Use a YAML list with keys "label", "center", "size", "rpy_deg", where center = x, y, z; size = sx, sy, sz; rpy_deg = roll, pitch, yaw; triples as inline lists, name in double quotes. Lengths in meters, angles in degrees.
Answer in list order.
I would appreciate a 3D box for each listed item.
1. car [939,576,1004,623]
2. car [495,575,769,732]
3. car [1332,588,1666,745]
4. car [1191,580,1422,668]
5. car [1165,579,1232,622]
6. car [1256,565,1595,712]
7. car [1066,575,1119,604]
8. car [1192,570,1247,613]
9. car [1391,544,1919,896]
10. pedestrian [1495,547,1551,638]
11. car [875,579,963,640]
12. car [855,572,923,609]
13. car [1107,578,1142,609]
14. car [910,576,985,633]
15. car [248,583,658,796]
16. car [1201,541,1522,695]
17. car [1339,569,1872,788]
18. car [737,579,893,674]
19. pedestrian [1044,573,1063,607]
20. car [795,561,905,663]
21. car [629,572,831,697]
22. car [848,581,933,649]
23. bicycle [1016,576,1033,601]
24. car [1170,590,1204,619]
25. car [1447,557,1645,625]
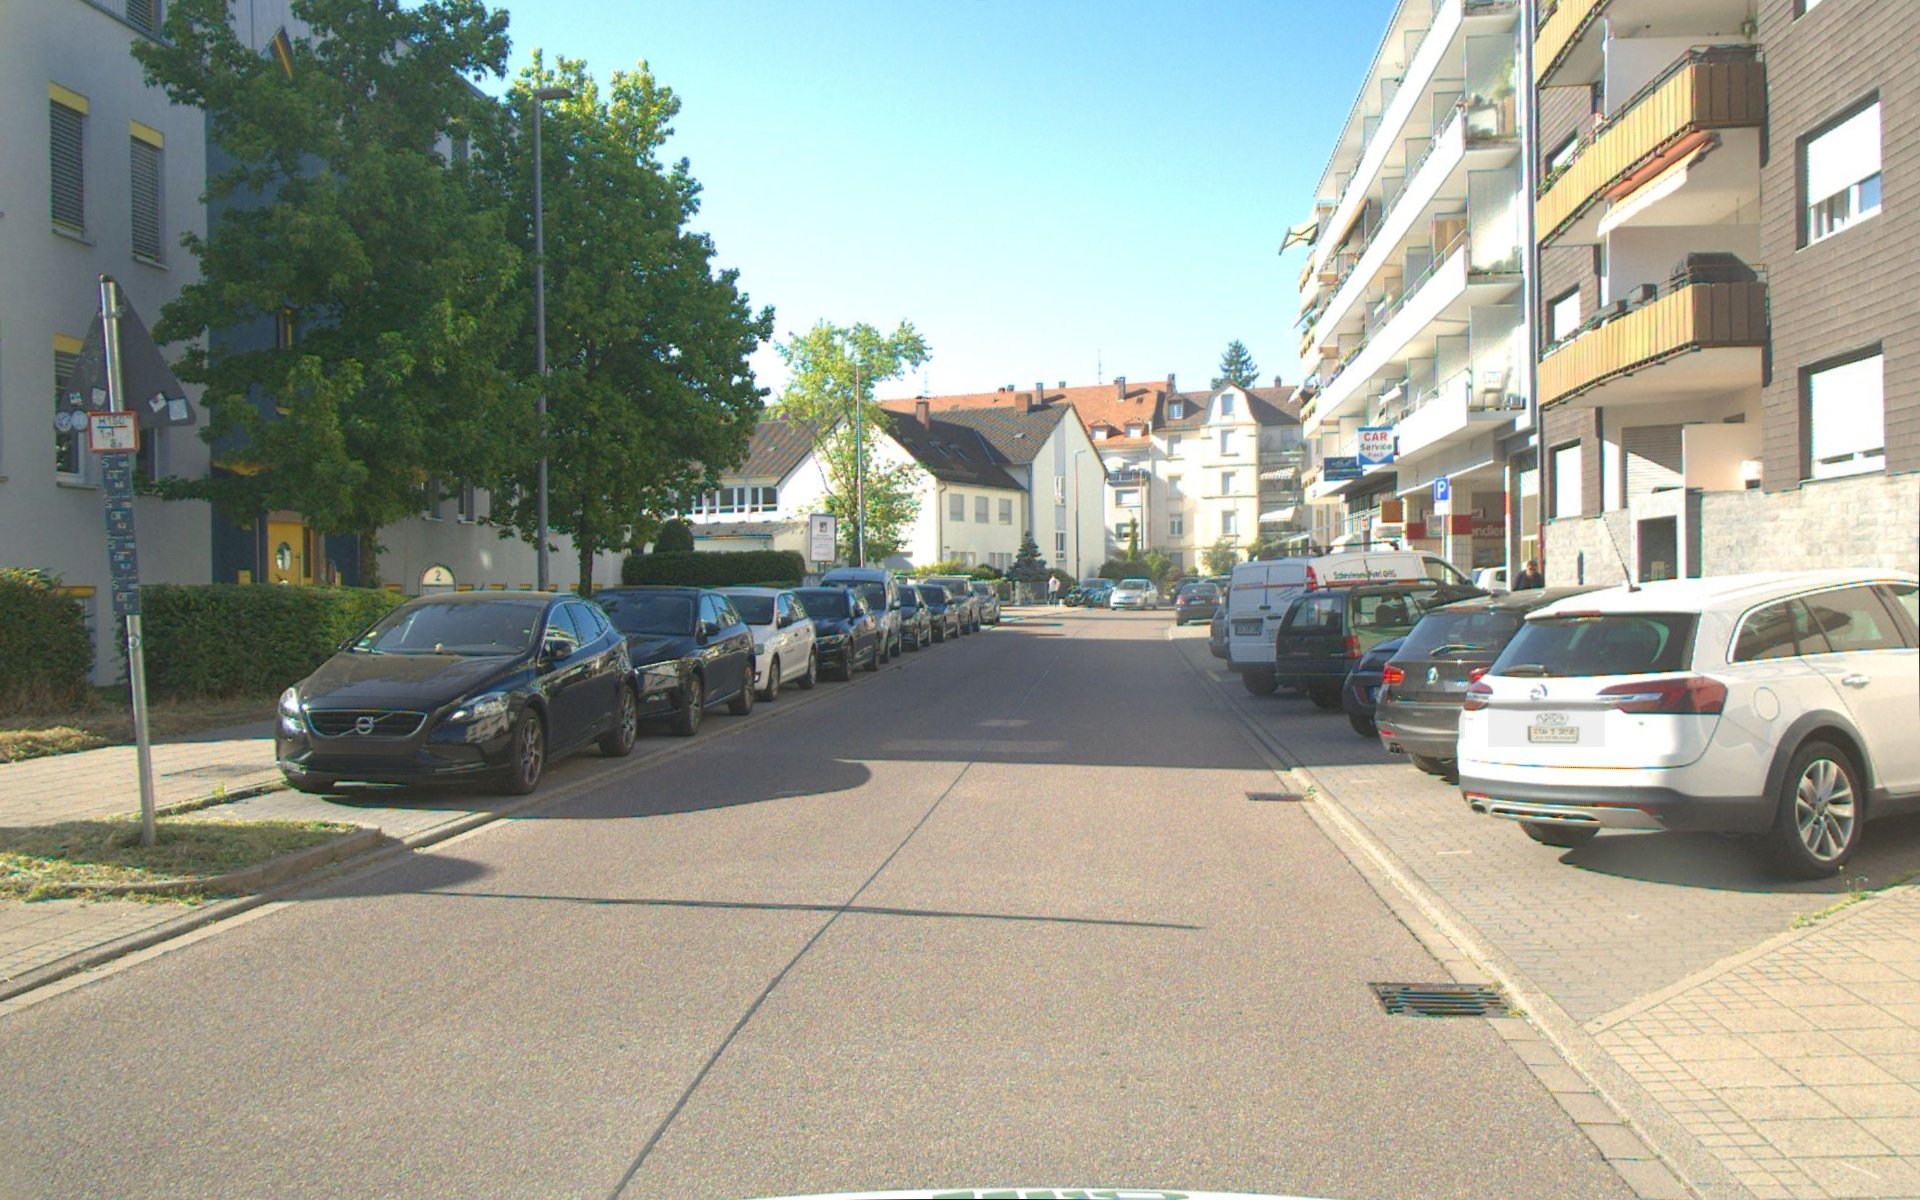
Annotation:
- label: "car"
  center: [0.459, -0.047, 58.909]
  size: [1.951, 1.561, 4.921]
  rpy_deg: [0, 1, 5]
- label: "car"
  center: [-3.422, 0.517, 18.132]
  size: [1.868, 1.505, 4.382]
  rpy_deg: [0, 0, 4]
- label: "car"
  center: [5.485, 0.601, 16.724]
  size: [3.358, 1.412, 1.521]
  rpy_deg: [-1, 0, -35]
- label: "car"
  center: [6.593, 0.433, 31.224]
  size: [4.599, 1.491, 1.668]
  rpy_deg: [-1, -1, -38]
- label: "car"
  center: [8.586, 0.005, 59.188]
  size: [1.929, 1.476, 5.007]
  rpy_deg: [0, 0, 13]
- label: "car"
  center: [5.782, 0.452, 20.484]
  size: [3.937, 1.515, 1.603]
  rpy_deg: [-3, -1, -27]
- label: "car"
  center: [7.036, -0.579, 87.590]
  size: [1.760, 1.499, 4.332]
  rpy_deg: [1, 1, 19]
- label: "car"
  center: [11.084, -0.325, 70.383]
  size: [1.778, 1.682, 4.562]
  rpy_deg: [-1, -2, 15]
- label: "car"
  center: [5.028, 0.494, 9.774]
  size: [4.807, 1.489, 1.953]
  rpy_deg: [-4, 2, -30]
- label: "pedestrian"
  center: [10.316, -0.131, 30.348]
  size: [0.815, 1.621, 0.889]
  rpy_deg: [-2, 0, 10]
- label: "car"
  center: [-1.011, 0.216, 43.239]
  size: [1.689, 1.490, 4.443]
  rpy_deg: [0, 1, 7]
- label: "car"
  center: [-3.278, -0.408, 77.001]
  size: [1.766, 1.583, 3.183]
  rpy_deg: [-1, -2, 29]
- label: "car"
  center: [8.187, -0.350, 82.139]
  size: [1.689, 1.511, 4.109]
  rpy_deg: [0, 1, 7]
- label: "car"
  center: [-0.313, 0.098, 49.076]
  size: [1.683, 1.614, 4.425]
  rpy_deg: [0, 1, 7]
- label: "car"
  center: [-3.812, 0.581, 13.269]
  size: [1.751, 1.435, 4.226]
  rpy_deg: [0, 1, 4]
- label: "car"
  center: [5.852, 0.233, 23.925]
  size: [4.480, 1.931, 2.024]
  rpy_deg: [-3, -1, -36]
- label: "car"
  center: [5.254, 0.556, 13.388]
  size: [4.112, 1.523, 1.805]
  rpy_deg: [-1, -1, -29]
- label: "car"
  center: [-2.344, 0.390, 27.954]
  size: [1.696, 1.464, 4.615]
  rpy_deg: [-1, 1, 7]
- label: "pedestrian"
  center: [4.755, -0.506, 84.340]
  size: [0.669, 1.733, 0.823]
  rpy_deg: [-1, -2, 27]
- label: "car"
  center: [-2.098, 0.181, 32.619]
  size: [1.652, 1.871, 4.343]
  rpy_deg: [0, 1, 3]
- label: "car"
  center: [-3.062, 0.434, 23.024]
  size: [1.868, 1.557, 4.627]
  rpy_deg: [0, 0, 4]
- label: "car"
  center: [-1.544, 0.308, 37.834]
  size: [1.564, 1.465, 4.002]
  rpy_deg: [0, 1, 3]
- label: "bicycle"
  center: [3.453, -0.604, 88.257]
  size: [0.446, 1.272, 1.929]
  rpy_deg: [-1, -2, 17]
- label: "car"
  center: [13.144, 0.285, 96.050]
  size: [1.703, 1.539, 3.732]
  rpy_deg: [-2, -2, 5]
- label: "car"
  center: [14.630, -0.207, 41.476]
  size: [4.298, 1.539, 1.980]
  rpy_deg: [-2, 0, 5]
